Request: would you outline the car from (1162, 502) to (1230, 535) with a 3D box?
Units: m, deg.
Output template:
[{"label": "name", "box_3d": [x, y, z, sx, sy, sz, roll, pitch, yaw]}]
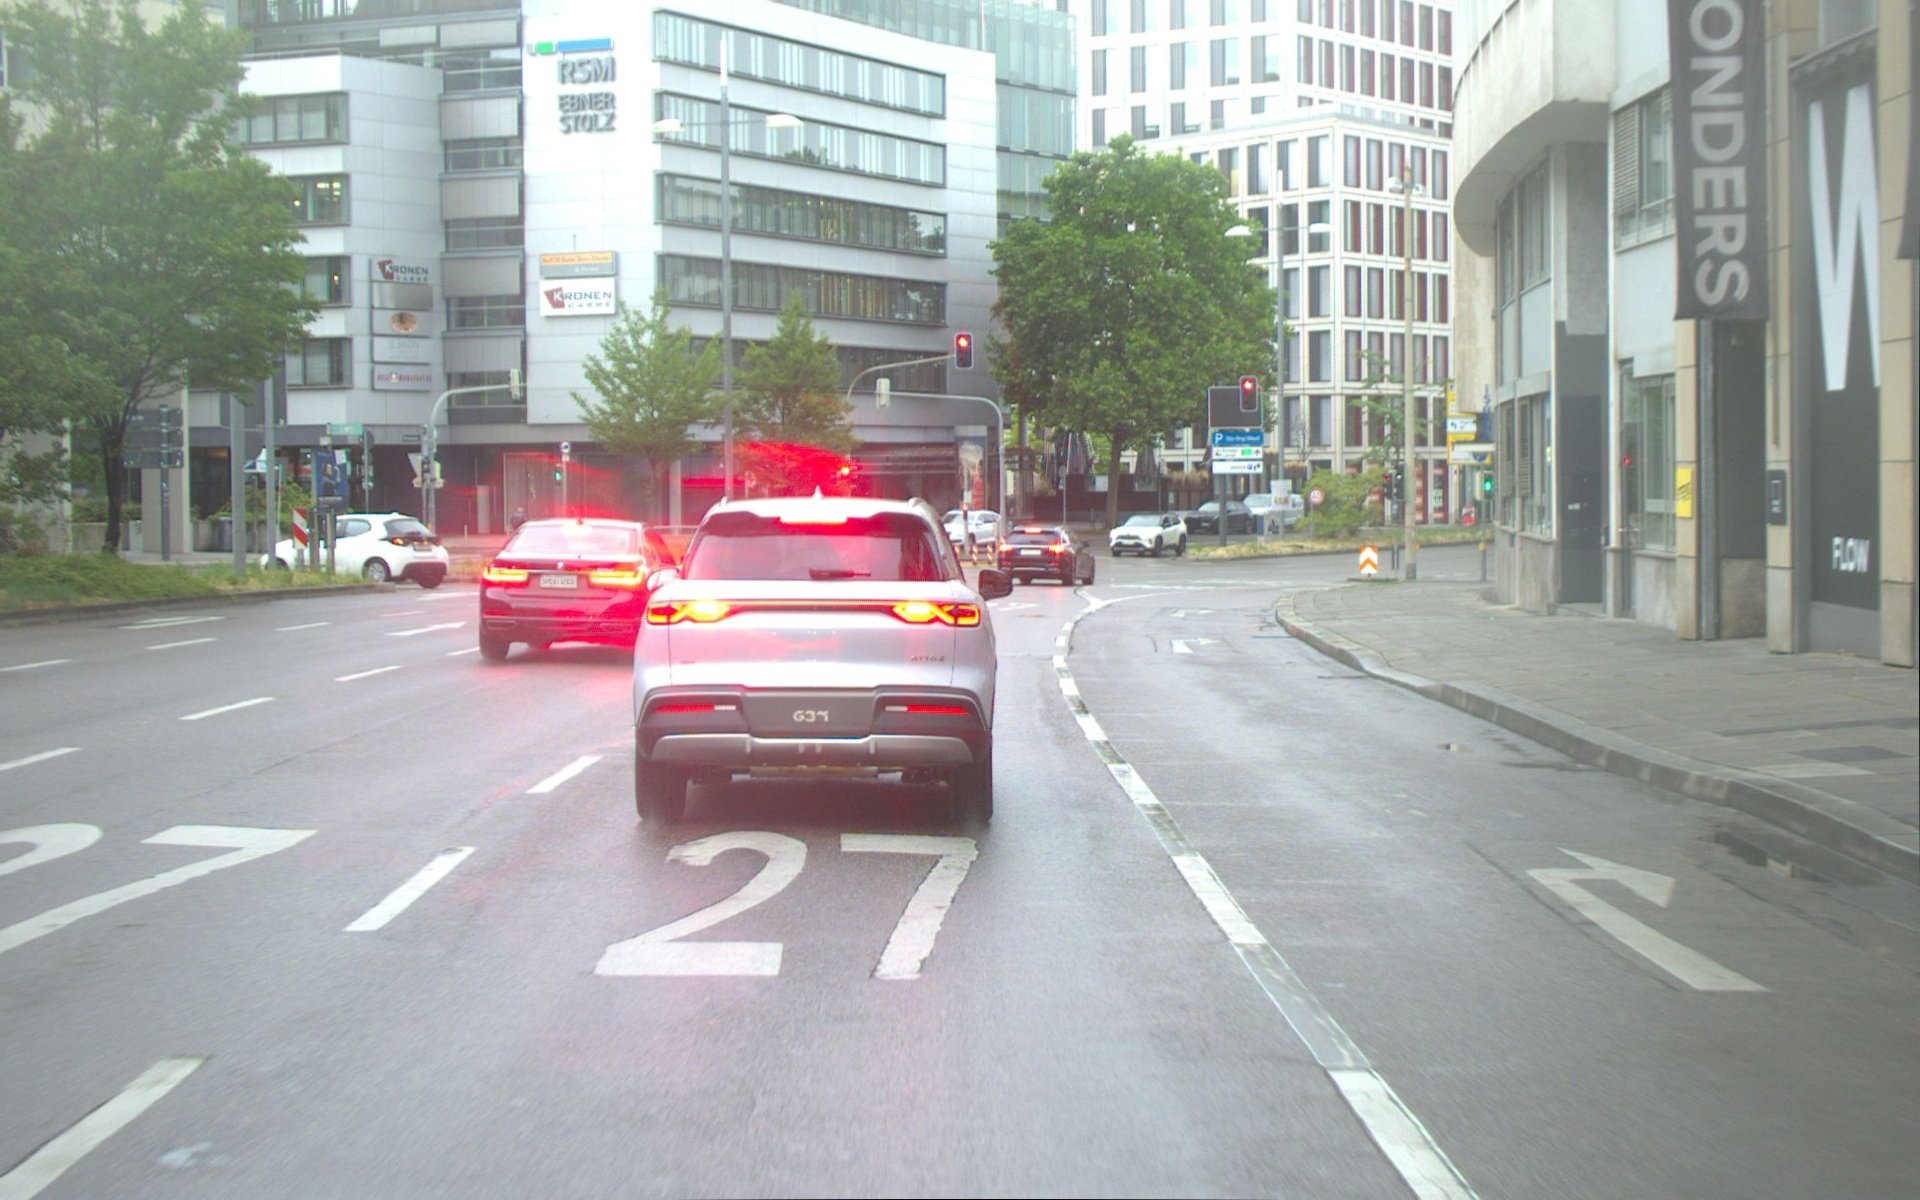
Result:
[{"label": "car", "box_3d": [10.973, -3.779, 159.662, 1.583, 1.533, 3.993, 1, 1, 30]}]

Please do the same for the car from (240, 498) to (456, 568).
[{"label": "car", "box_3d": [-12.089, -1.335, 67.913, 3.993, 1.337, 1.656, 1, 1, 26]}]

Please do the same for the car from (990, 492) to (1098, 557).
[{"label": "car", "box_3d": [2.125, -1.876, 85.763, 1.813, 1.573, 3.997, 1, 1, 15]}]

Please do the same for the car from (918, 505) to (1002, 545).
[{"label": "car", "box_3d": [0.014, -2.914, 133.585, 1.583, 1.533, 3.994, 1, 1, 28]}]

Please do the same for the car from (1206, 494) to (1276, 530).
[{"label": "car", "box_3d": [13.635, -4.266, 166.885, 1.860, 1.730, 3.993, 1, 1, 30]}]

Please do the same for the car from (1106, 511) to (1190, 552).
[{"label": "car", "box_3d": [7.272, -2.635, 132.532, 1.583, 1.533, 3.993, 1, 1, 30]}]

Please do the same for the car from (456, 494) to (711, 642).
[{"label": "car", "box_3d": [-3.976, -0.346, 37.057, 1.872, 1.474, 4.877, 1, 1, 4]}]

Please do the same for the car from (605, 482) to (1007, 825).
[{"label": "car", "box_3d": [-0.767, 0.218, 18.459, 1.901, 1.616, 4.000, 1, 1, -1]}]
